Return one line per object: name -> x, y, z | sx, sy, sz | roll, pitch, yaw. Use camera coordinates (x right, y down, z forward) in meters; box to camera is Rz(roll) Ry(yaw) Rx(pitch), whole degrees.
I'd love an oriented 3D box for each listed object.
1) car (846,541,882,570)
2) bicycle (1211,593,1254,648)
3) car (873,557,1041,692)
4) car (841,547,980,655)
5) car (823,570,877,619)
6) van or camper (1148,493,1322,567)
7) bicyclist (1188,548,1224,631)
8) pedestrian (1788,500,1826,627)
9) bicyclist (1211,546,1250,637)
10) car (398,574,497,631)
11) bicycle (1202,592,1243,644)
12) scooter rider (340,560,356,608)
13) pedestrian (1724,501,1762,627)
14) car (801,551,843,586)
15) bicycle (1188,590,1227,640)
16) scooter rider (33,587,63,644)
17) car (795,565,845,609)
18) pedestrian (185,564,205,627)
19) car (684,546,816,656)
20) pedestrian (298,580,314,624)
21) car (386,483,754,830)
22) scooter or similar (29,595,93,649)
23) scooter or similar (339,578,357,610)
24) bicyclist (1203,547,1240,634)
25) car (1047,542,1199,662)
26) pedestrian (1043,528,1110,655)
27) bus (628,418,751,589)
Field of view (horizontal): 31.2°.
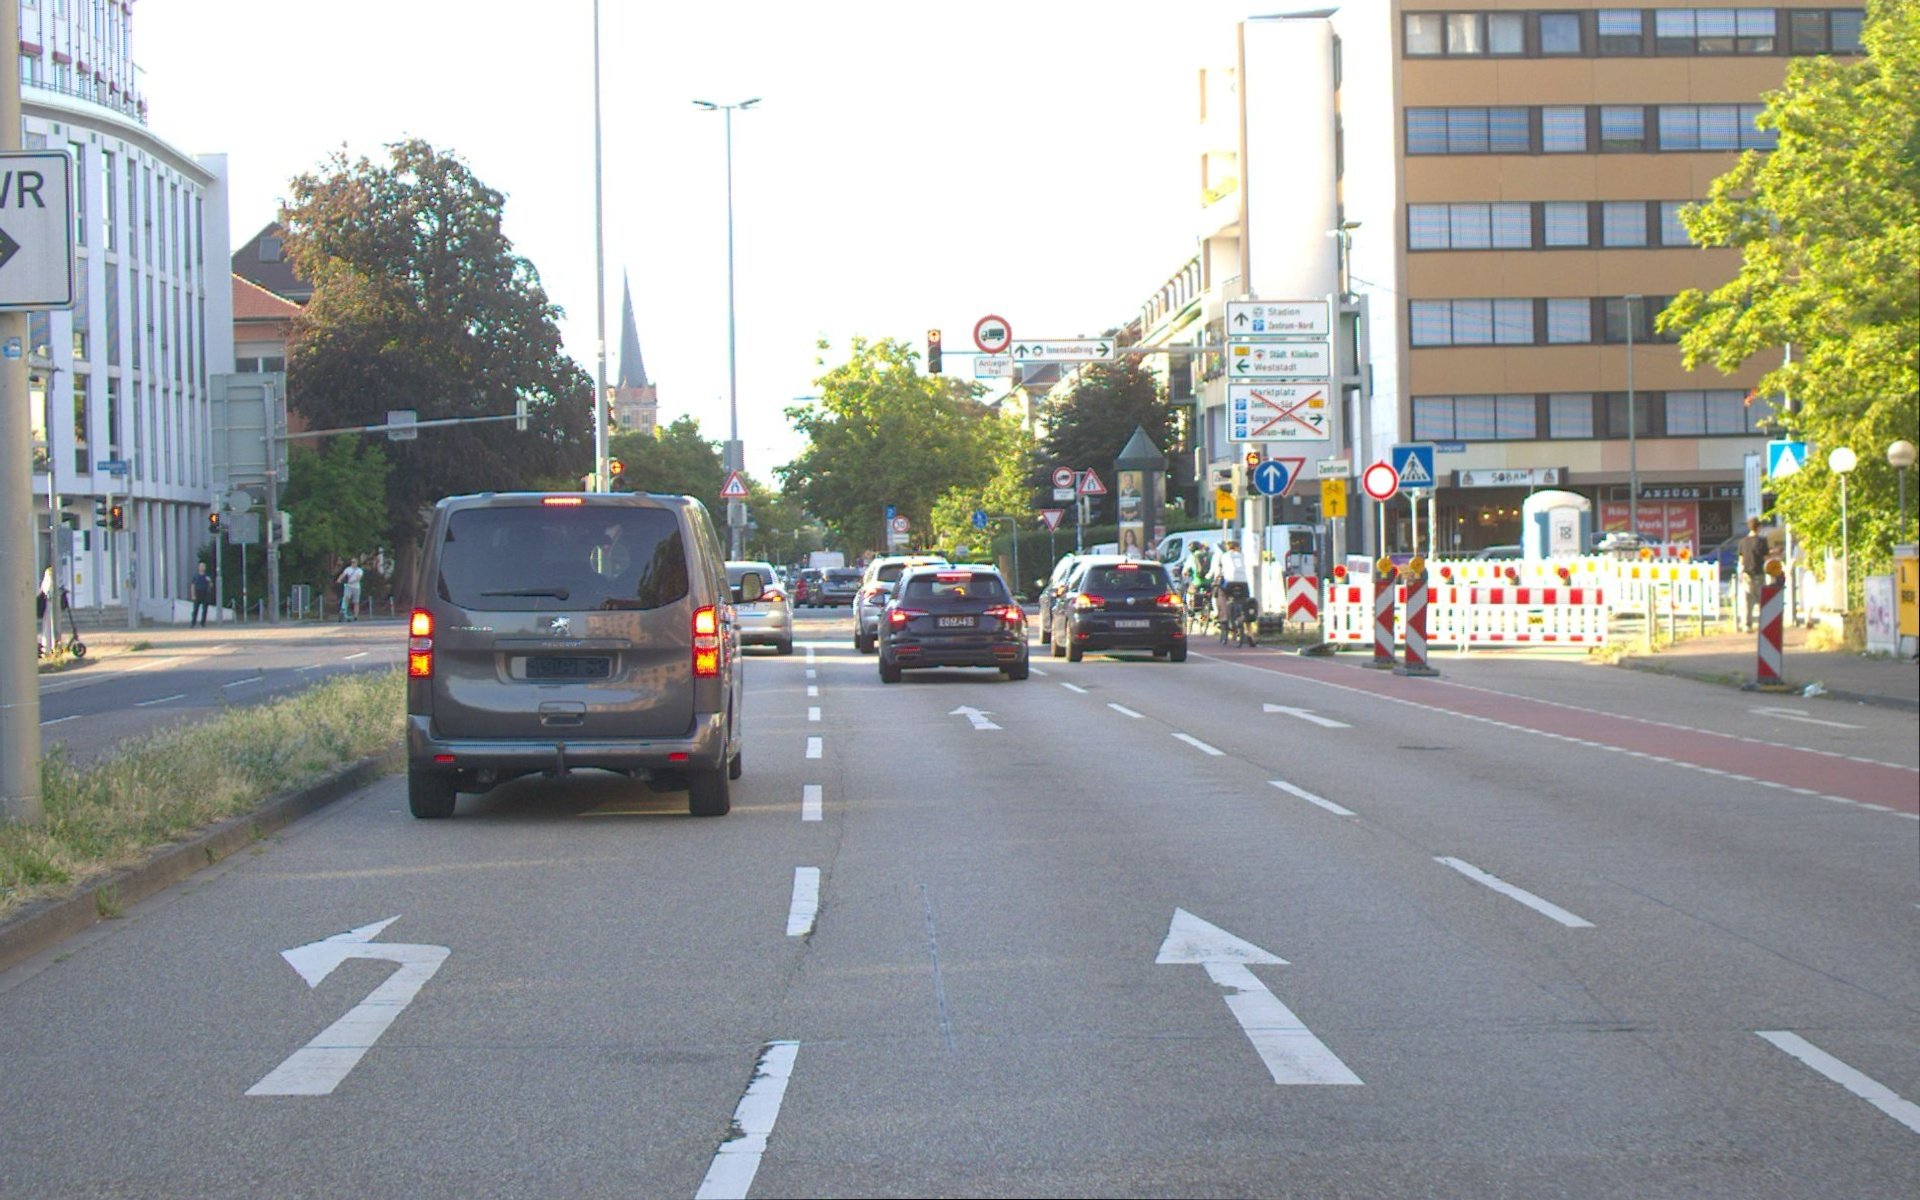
car -> -5.731, -2.664, 205.040 | 1.848, 1.702, 3.726 | -1, 1, -6
bicycle -> 4.434, 0.323, 56.041 | 0.533, 0.844, 1.683 | -1, 1, -1
car -> 0.003, 0.267, 42.479 | 1.846, 1.539, 3.631 | -1, 1, 3
car -> -0.851, -0.015, 55.932 | 1.993, 1.651, 4.300 | -1, 1, -4
car -> -3.787, -0.205, 118.613 | 1.741, 1.581, 4.000 | -1, 1, -1
van or camper -> 7.955, -2.027, 99.521 | 4.571, 2.007, 1.997 | -1, 1, 28
bicyclist -> 4.358, -0.195, 60.920 | 0.541, 1.454, 0.641 | -1, 1, -1
pedestrian -> 13.547, -0.581, 55.002 | 0.491, 2.007, 0.664 | -1, 1, 19
bicyclist -> 4.417, -0.143, 56.103 | 0.541, 1.454, 0.641 | -1, 1, -1
car -> -15.301, 0.053, 102.780 | 1.994, 1.590, 3.999 | -1, 1, 5
bicycle -> 4.446, 0.295, 58.276 | 0.533, 0.844, 1.683 | -1, 1, -1
scooter rider -> -17.560, -0.471, 98.685 | 0.355, 1.368, 0.337 | -1, 1, -1
pedestrian -> 12.602, -0.589, 55.337 | 0.491, 2.007, 0.664 | -1, 1, 19
car -> -7.064, -1.604, 175.652 | 1.848, 1.702, 3.726 | -1, 1, -6
bicycle -> 4.378, 0.263, 60.962 | 0.533, 0.844, 1.683 | -1, 1, -1
scooter rider -> -16.636, 0.290, 62.734 | 0.509, 1.032, 0.446 | 0, 0, -12
car -> -5.316, -0.497, 130.650 | 1.741, 1.581, 4.000 | -1, 1, -1
pedestrian -> -20.293, -0.122, 91.220 | 0.375, 1.654, 0.569 | -1, 1, -1
car -> -3.391, -0.017, 55.187 | 1.993, 1.651, 4.300 | -1, 1, -4
pedestrian -> -19.020, 0.059, 100.030 | 0.354, 1.286, 0.379 | -1, 1, -1
car -> -2.396, 0.253, 21.312 | 1.993, 1.894, 4.300 | 1, 2, -6
scooter or similar -> -16.411, 0.399, 62.772 | 1.098, 0.973, 0.559 | 0, 1, -11
scooter or similar -> -17.557, -0.179, 98.597 | 0.358, 0.892, 0.904 | -1, 1, -1
bicyclist -> 4.430, -0.166, 58.250 | 0.541, 1.454, 0.641 | -1, 1, -1
car -> 2.364, -0.002, 50.793 | 1.993, 1.651, 4.299 | -1, 1, 0
pedestrian -> 1.863, -0.141, 55.184 | 1.018, 2.007, 1.098 | 0, 0, -1
bus -> -7.682, -2.651, 97.550 | 3.289, 4.601, 10.002 | 0, 1, -5
